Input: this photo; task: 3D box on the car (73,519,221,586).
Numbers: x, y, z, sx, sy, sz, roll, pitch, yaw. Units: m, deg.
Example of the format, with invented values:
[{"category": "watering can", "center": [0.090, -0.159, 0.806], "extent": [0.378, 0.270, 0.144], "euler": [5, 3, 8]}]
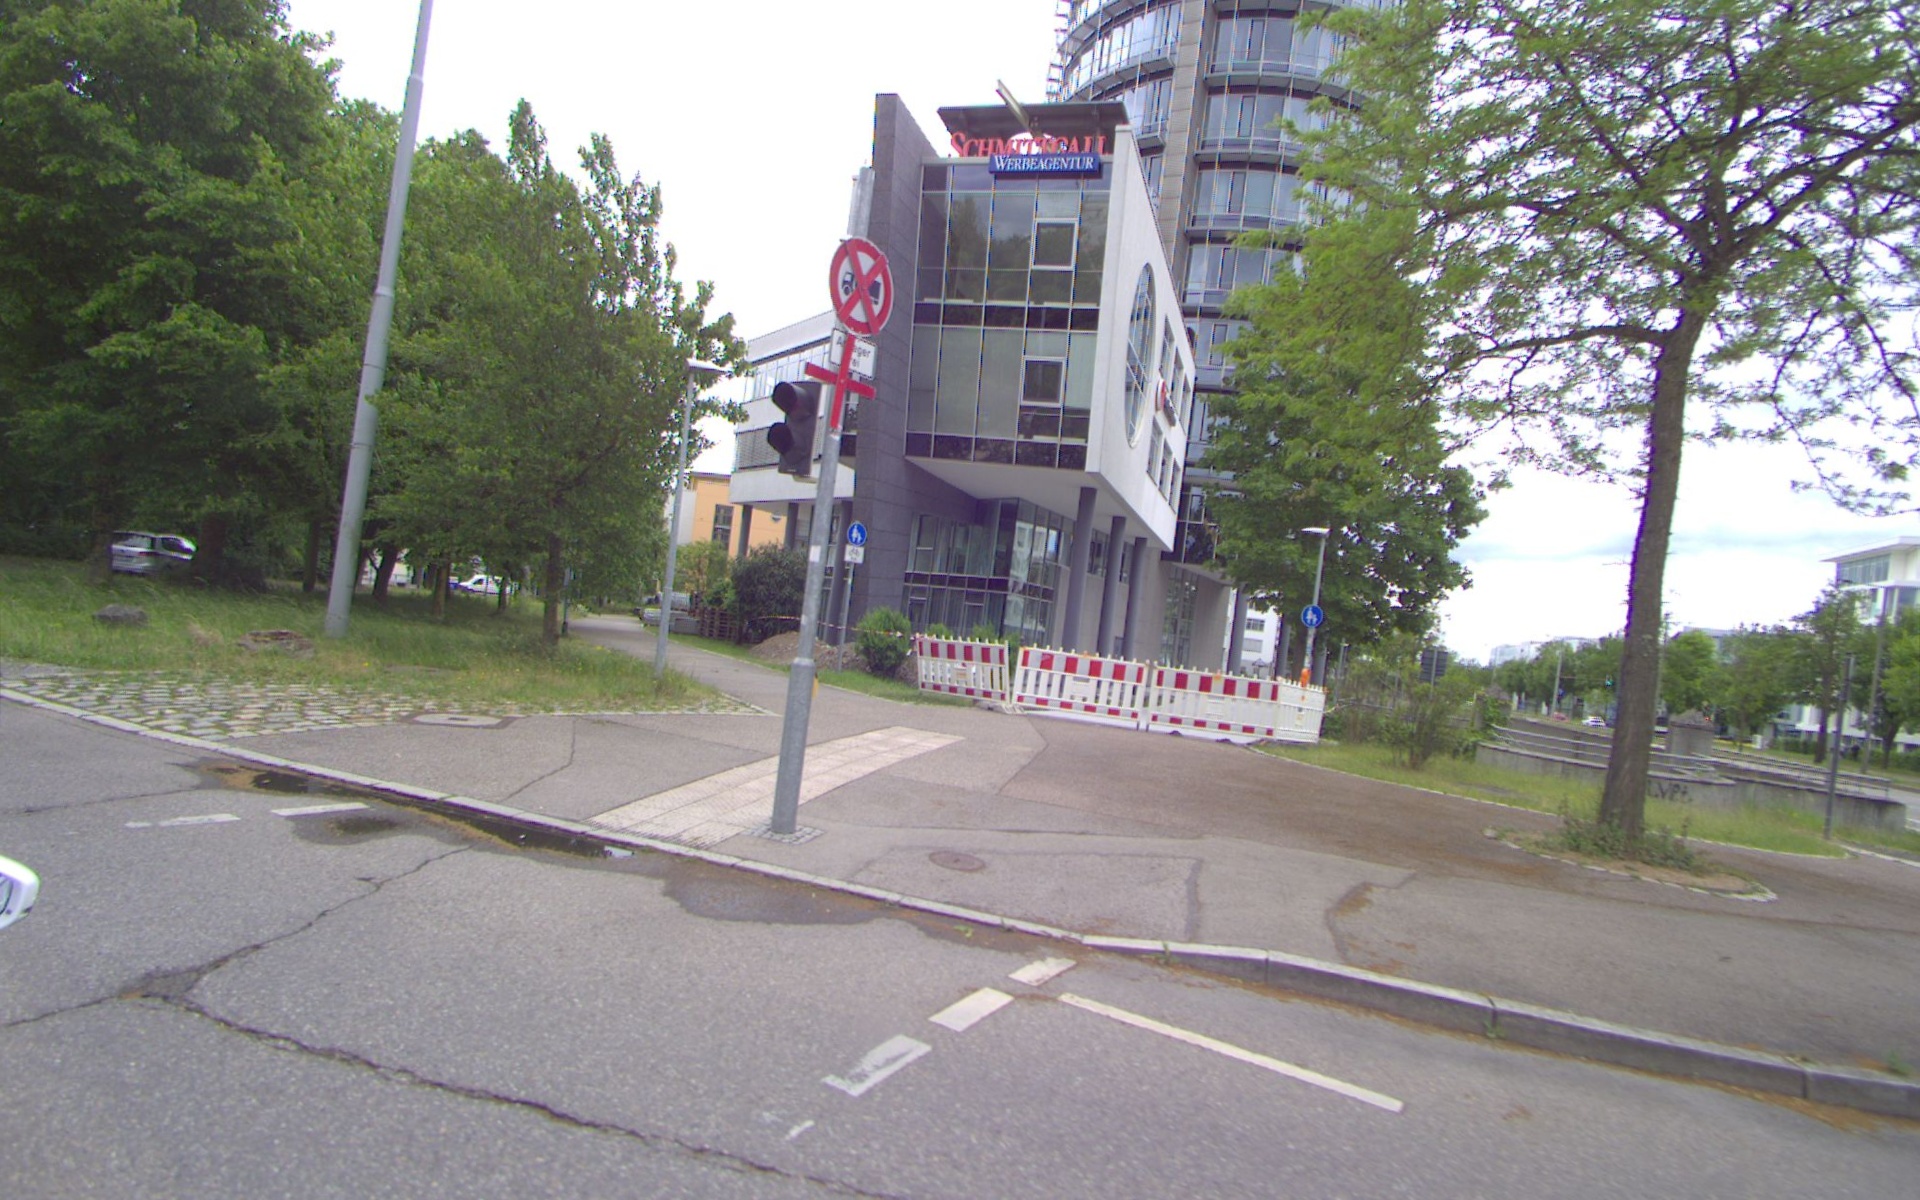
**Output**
[{"category": "car", "center": [-24.952, -1.392, 31.077], "extent": [1.898, 1.592, 3.992], "euler": [7, -2, -14]}]

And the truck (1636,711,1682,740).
[{"category": "truck", "center": [68.670, 12.340, 98.942], "extent": [2.517, 2.402, 4.593], "euler": [8, -3, 23]}]

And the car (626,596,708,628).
[{"category": "car", "center": [-17.956, 0.736, 61.878], "extent": [1.842, 1.534, 4.730], "euler": [3, -3, 34]}]

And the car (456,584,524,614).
[{"category": "car", "center": [-56.205, -0.110, 120.379], "extent": [2.056, 2.550, 6.954], "euler": [7, -2, 41]}]

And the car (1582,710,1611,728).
[{"category": "car", "center": [75.170, 14.058, 118.861], "extent": [1.841, 1.692, 3.892], "euler": [8, -3, 18]}]
